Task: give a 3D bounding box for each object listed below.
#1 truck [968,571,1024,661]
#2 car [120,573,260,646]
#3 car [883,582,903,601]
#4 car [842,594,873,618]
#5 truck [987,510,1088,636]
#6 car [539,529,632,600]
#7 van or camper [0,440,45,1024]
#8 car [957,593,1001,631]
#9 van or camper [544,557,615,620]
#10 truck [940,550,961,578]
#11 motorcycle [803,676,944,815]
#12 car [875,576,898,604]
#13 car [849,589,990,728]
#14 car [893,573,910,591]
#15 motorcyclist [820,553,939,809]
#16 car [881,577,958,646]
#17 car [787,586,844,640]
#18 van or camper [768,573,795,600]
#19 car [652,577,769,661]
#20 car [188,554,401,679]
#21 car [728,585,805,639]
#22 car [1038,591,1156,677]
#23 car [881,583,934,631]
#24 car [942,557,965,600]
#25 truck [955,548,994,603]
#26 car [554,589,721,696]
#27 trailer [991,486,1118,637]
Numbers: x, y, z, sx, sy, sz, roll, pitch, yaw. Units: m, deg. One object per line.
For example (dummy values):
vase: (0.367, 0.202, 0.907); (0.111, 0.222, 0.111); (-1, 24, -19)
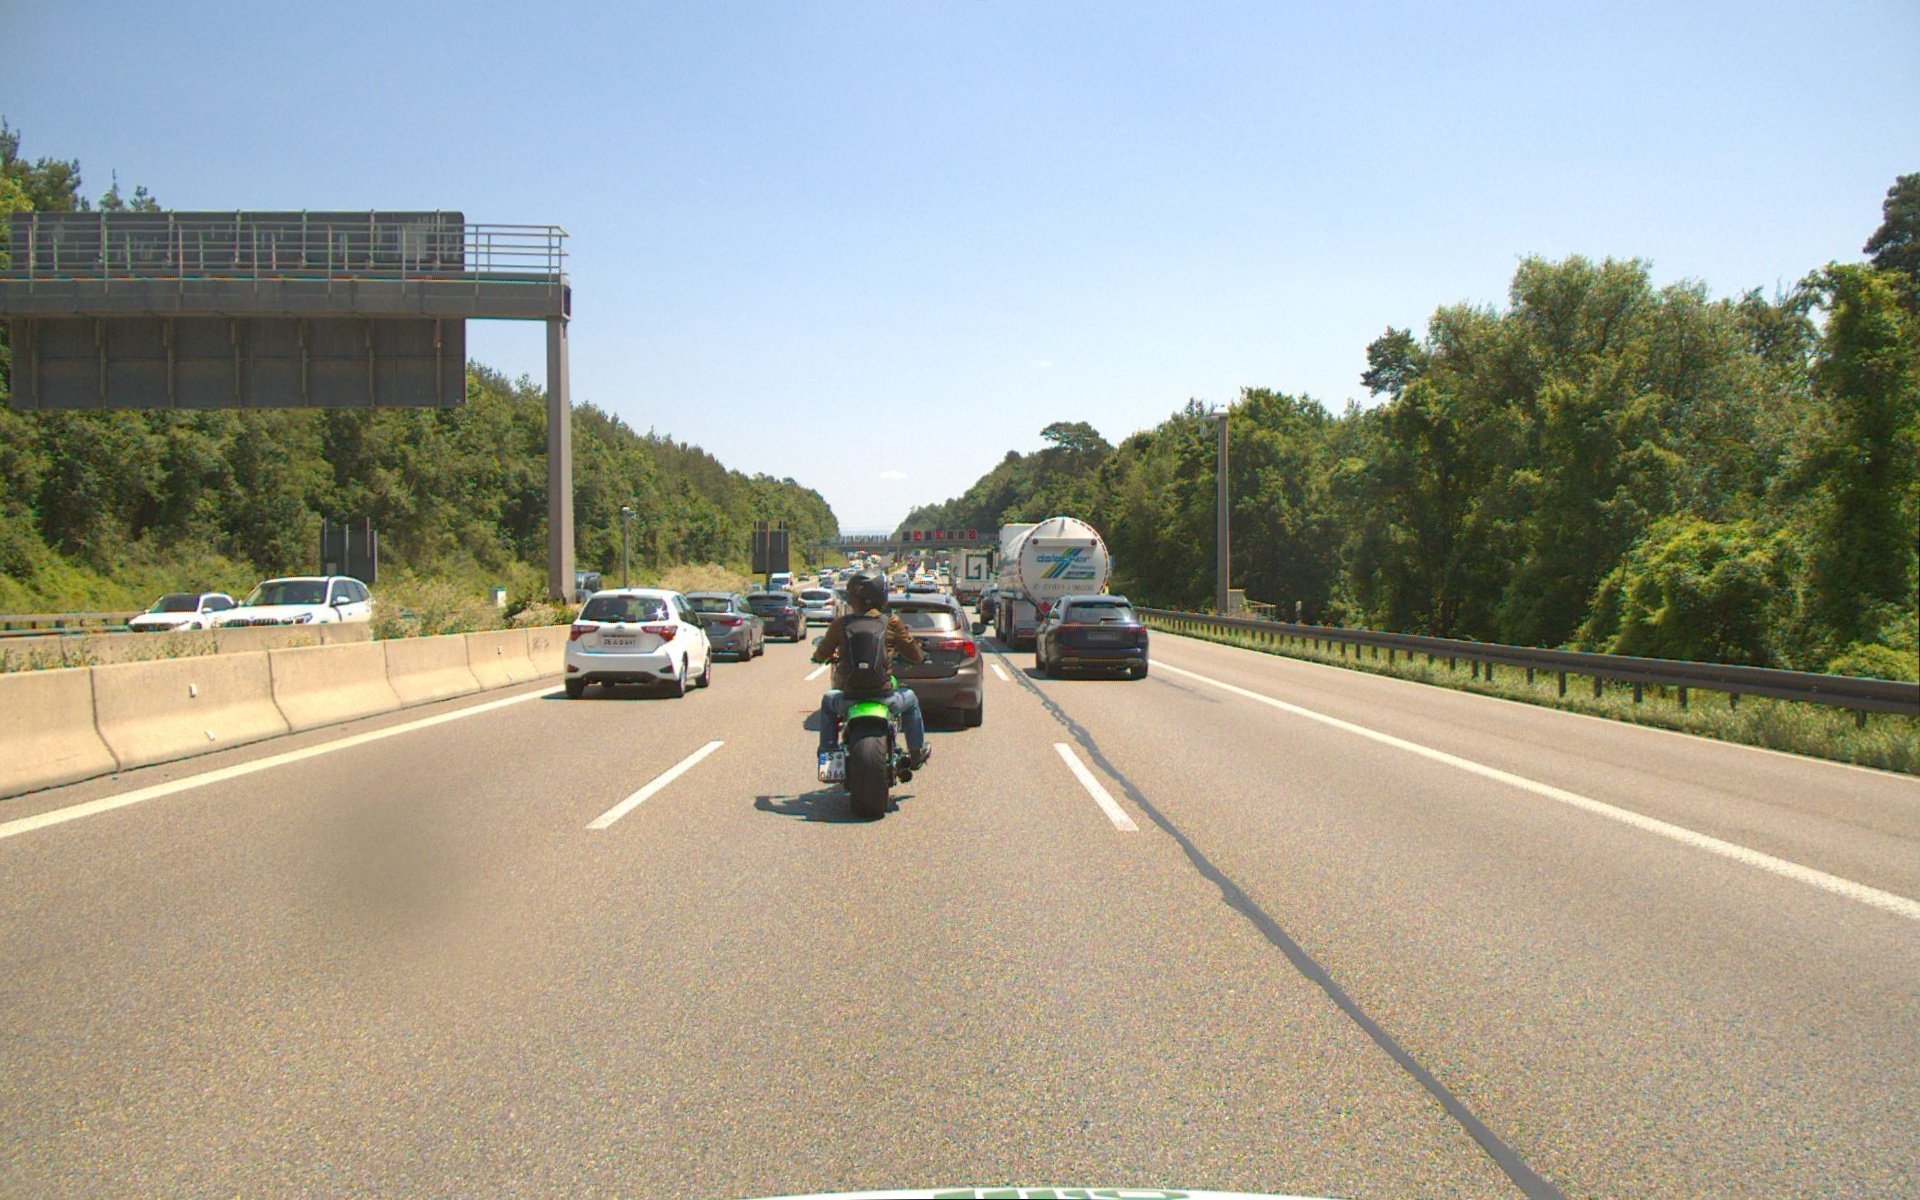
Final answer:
truck: (1.844, 0.759, 88.965); (2.340, 4.542, 10.865); (0, 0, -2)
car: (-22.633, 0.309, 48.821); (2.080, 2.049, 4.363); (1, -1, -1)
car: (-5.834, -0.729, 144.826); (1.627, 1.627, 3.999); (0, -1, -1)
car: (-6.419, 0.342, 104.034); (1.728, 1.467, 3.999); (0, 0, -1)
truck: (2.362, -0.746, 52.482); (2.770, 3.735, 6.427); (1, -1, -1)
car: (-11.918, -1.078, 52.962); (1.953, 2.049, 5.151); (1, -1, -2)
van or camper: (-4.005, 0.438, 3.355); (1.815, 1.913, 4.560); (1, 0, -1)
car: (0.782, 0.522, 70.007); (1.740, 1.554, 3.999); (1, -1, -1)
van or camper: (-18.760, -0.517, 81.855); (2.110, 2.909, 6.650); (1, -1, -2)
truck: (-1.329, -4.923, 228.006); (2.641, 3.465, 10.475); (0, 0, -1)
motorcycle: (-0.585, 1.008, 11.986); (0.917, 0.807, 2.298); (1, 0, -1)
car: (-5.550, -0.738, 125.728); (1.627, 2.013, 3.999); (0, -1, -1)
car: (-0.468, 0.633, 19.829); (1.509, 1.476, 3.999); (1, 0, -1)
car: (-7.035, -2.174, 197.783); (1.953, 2.049, 3.999); (0, 0, -1)
motorcyclist: (-0.549, 0.555, 11.661); (0.782, 1.717, 1.016); (1, -1, -1)
car: (-1.093, 0.328, 44.118); (1.953, 1.741, 3.998); (1, -1, -2)
car: (-5.702, 0.536, 65.653); (1.953, 2.049, 3.998); (1, -1, -2)
van or camper: (-17.996, -1.345, 166.876); (2.108, 2.465, 6.194); (1, -1, -1)
car: (-5.406, 0.439, 36.322); (1.953, 1.713, 4.329); (1, -1, -1)
car: (-11.791, 0.315, 29.672); (1.952, 2.049, 4.348); (1, -1, 1)
car: (-5.603, 0.377, 48.309); (1.954, 1.490, 3.997); (1, -1, -3)
car: (2.493, 0.636, 31.143); (1.755, 1.484, 4.622); (1, -1, -1)
car: (-2.052, 0.290, 64.628); (1.953, 1.806, 3.998); (1, -1, -2)
car: (-0.701, -2.073, 162.713); (2.123, 3.961, 9.327); (1, -1, -1)
truck: (1.130, -1.778, 124.209); (2.794, 3.888, 7.188); (1, -1, 2)
car: (-4.663, 0.589, 24.447); (1.740, 1.435, 3.999); (1, 0, -1)
trailer: (2.458, -0.865, 46.753); (2.770, 3.735, 10.729); (1, -1, -1)
